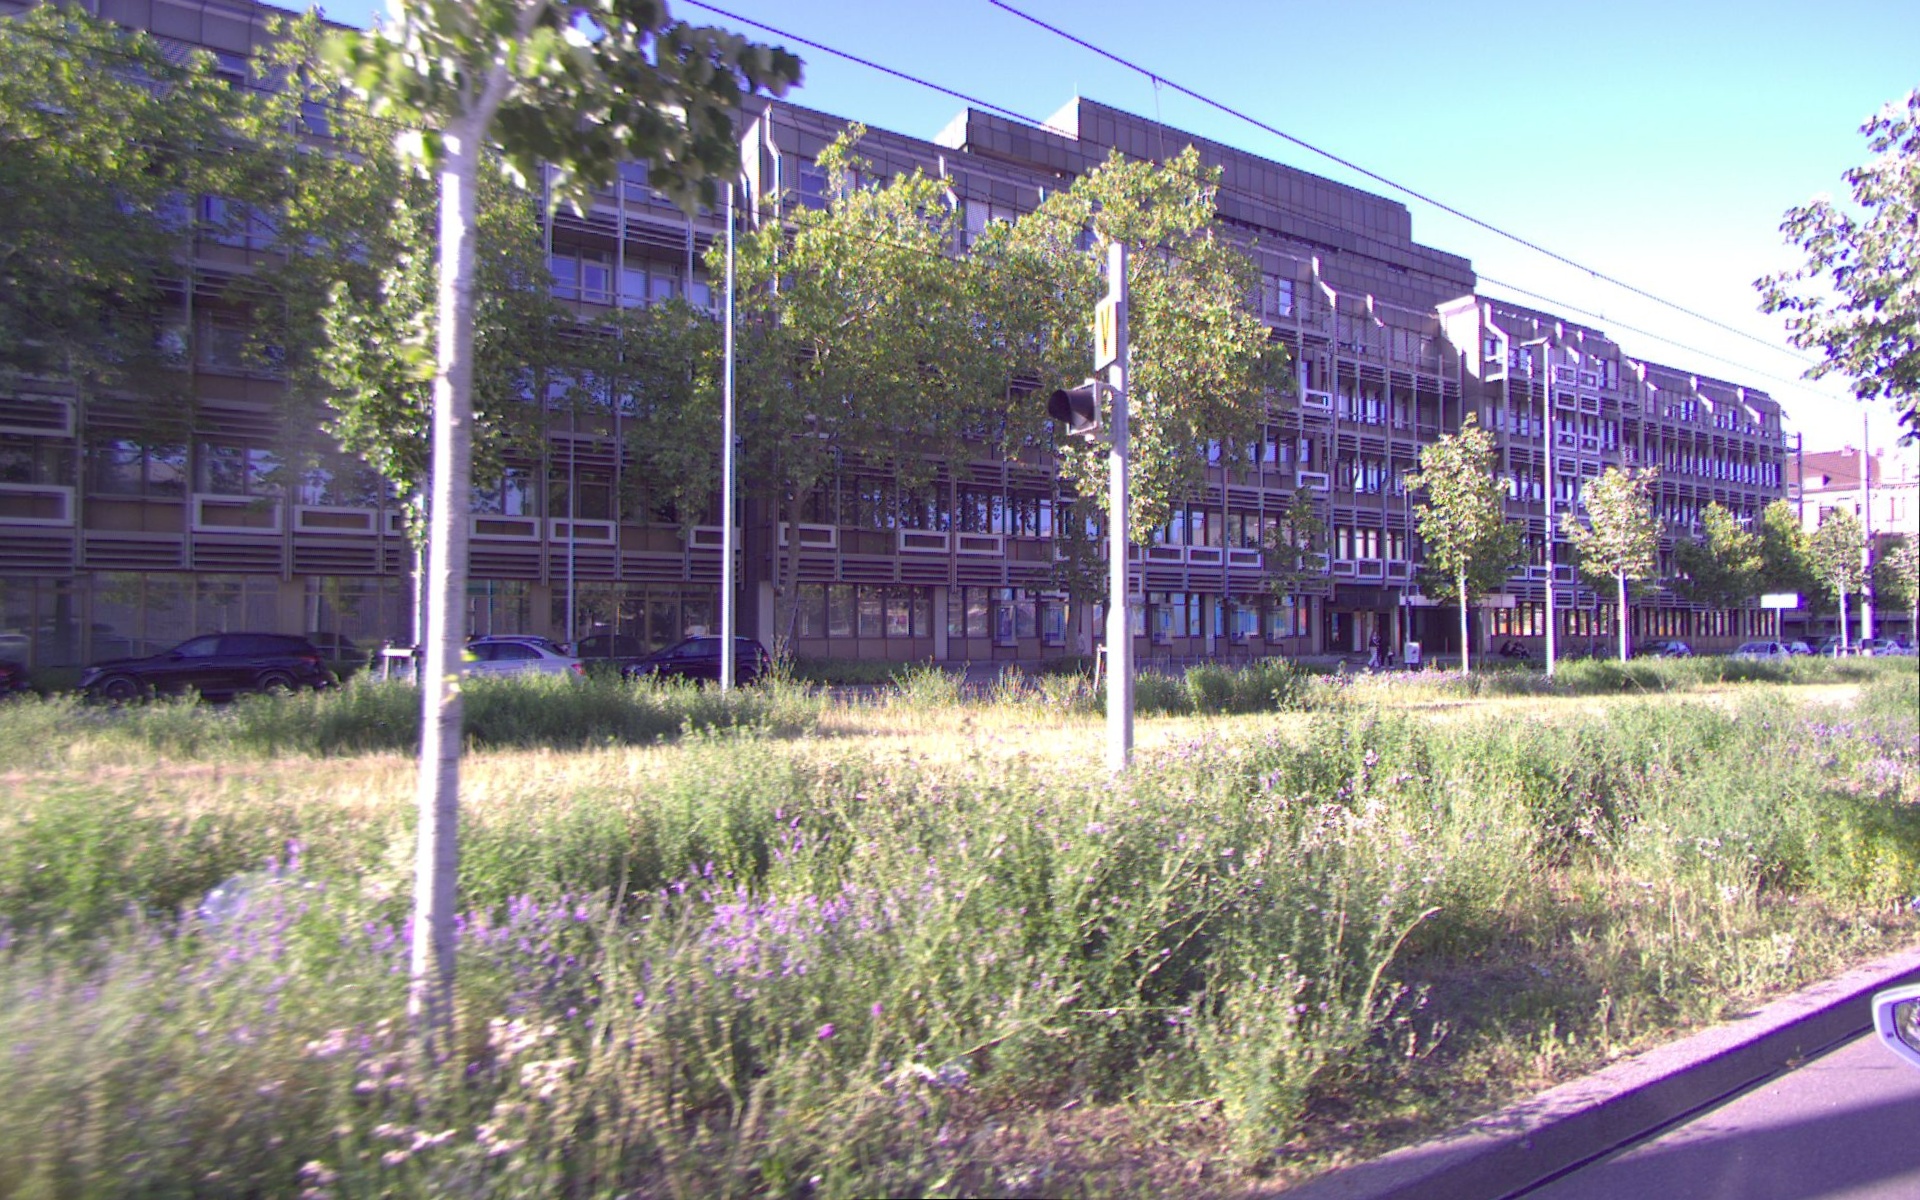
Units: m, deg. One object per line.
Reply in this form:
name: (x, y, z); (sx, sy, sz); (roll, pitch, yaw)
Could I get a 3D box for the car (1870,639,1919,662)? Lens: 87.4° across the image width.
car: (65.890, 3.501, 70.458); (4.253, 1.596, 1.894); (1, -2, -32)

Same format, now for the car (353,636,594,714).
car: (-10.495, 1.586, 21.854); (4.528, 1.535, 1.750); (2, -3, -30)

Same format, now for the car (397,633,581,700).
car: (-12.548, 1.748, 26.898); (4.307, 1.653, 1.904); (1, -4, -28)

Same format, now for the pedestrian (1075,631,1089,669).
pedestrian: (5.070, 2.070, 41.856); (0.441, 1.582, 0.407); (1, -2, -29)

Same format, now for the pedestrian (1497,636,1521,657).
pedestrian: (30.622, 2.578, 56.039); (0.856, 1.184, 0.895); (1, -2, -31)

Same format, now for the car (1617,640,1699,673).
car: (35.369, 2.828, 50.897); (4.253, 1.596, 1.894); (1, -2, -32)

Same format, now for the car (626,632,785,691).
car: (-7.476, 1.794, 29.555); (4.225, 1.617, 1.853); (2, -3, -29)

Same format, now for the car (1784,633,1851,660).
car: (52.584, 2.827, 61.572); (4.253, 1.596, 1.894); (1, -2, -32)

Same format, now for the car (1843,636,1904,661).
car: (61.050, 3.225, 67.109); (4.253, 1.596, 1.894); (1, -2, -32)

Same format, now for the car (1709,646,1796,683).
car: (36.237, 2.906, 45.934); (3.955, 1.596, 1.894); (1, -2, -32)

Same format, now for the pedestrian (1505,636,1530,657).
pedestrian: (31.496, 2.599, 56.704); (0.888, 1.184, 0.896); (1, -2, -30)

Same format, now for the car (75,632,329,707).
car: (-17.615, 1.586, 23.681); (4.570, 1.578, 1.735); (1, -1, -31)

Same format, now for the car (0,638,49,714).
car: (-22.030, 1.582, 21.019); (3.948, 1.541, 1.987); (1, -1, -27)

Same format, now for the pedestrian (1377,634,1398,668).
pedestrian: (19.728, 2.335, 46.375); (0.643, 1.552, 0.659); (1, -2, -36)

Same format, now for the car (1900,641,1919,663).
car: (72.023, 3.858, 74.829); (4.253, 1.596, 1.894); (1, -2, -32)
